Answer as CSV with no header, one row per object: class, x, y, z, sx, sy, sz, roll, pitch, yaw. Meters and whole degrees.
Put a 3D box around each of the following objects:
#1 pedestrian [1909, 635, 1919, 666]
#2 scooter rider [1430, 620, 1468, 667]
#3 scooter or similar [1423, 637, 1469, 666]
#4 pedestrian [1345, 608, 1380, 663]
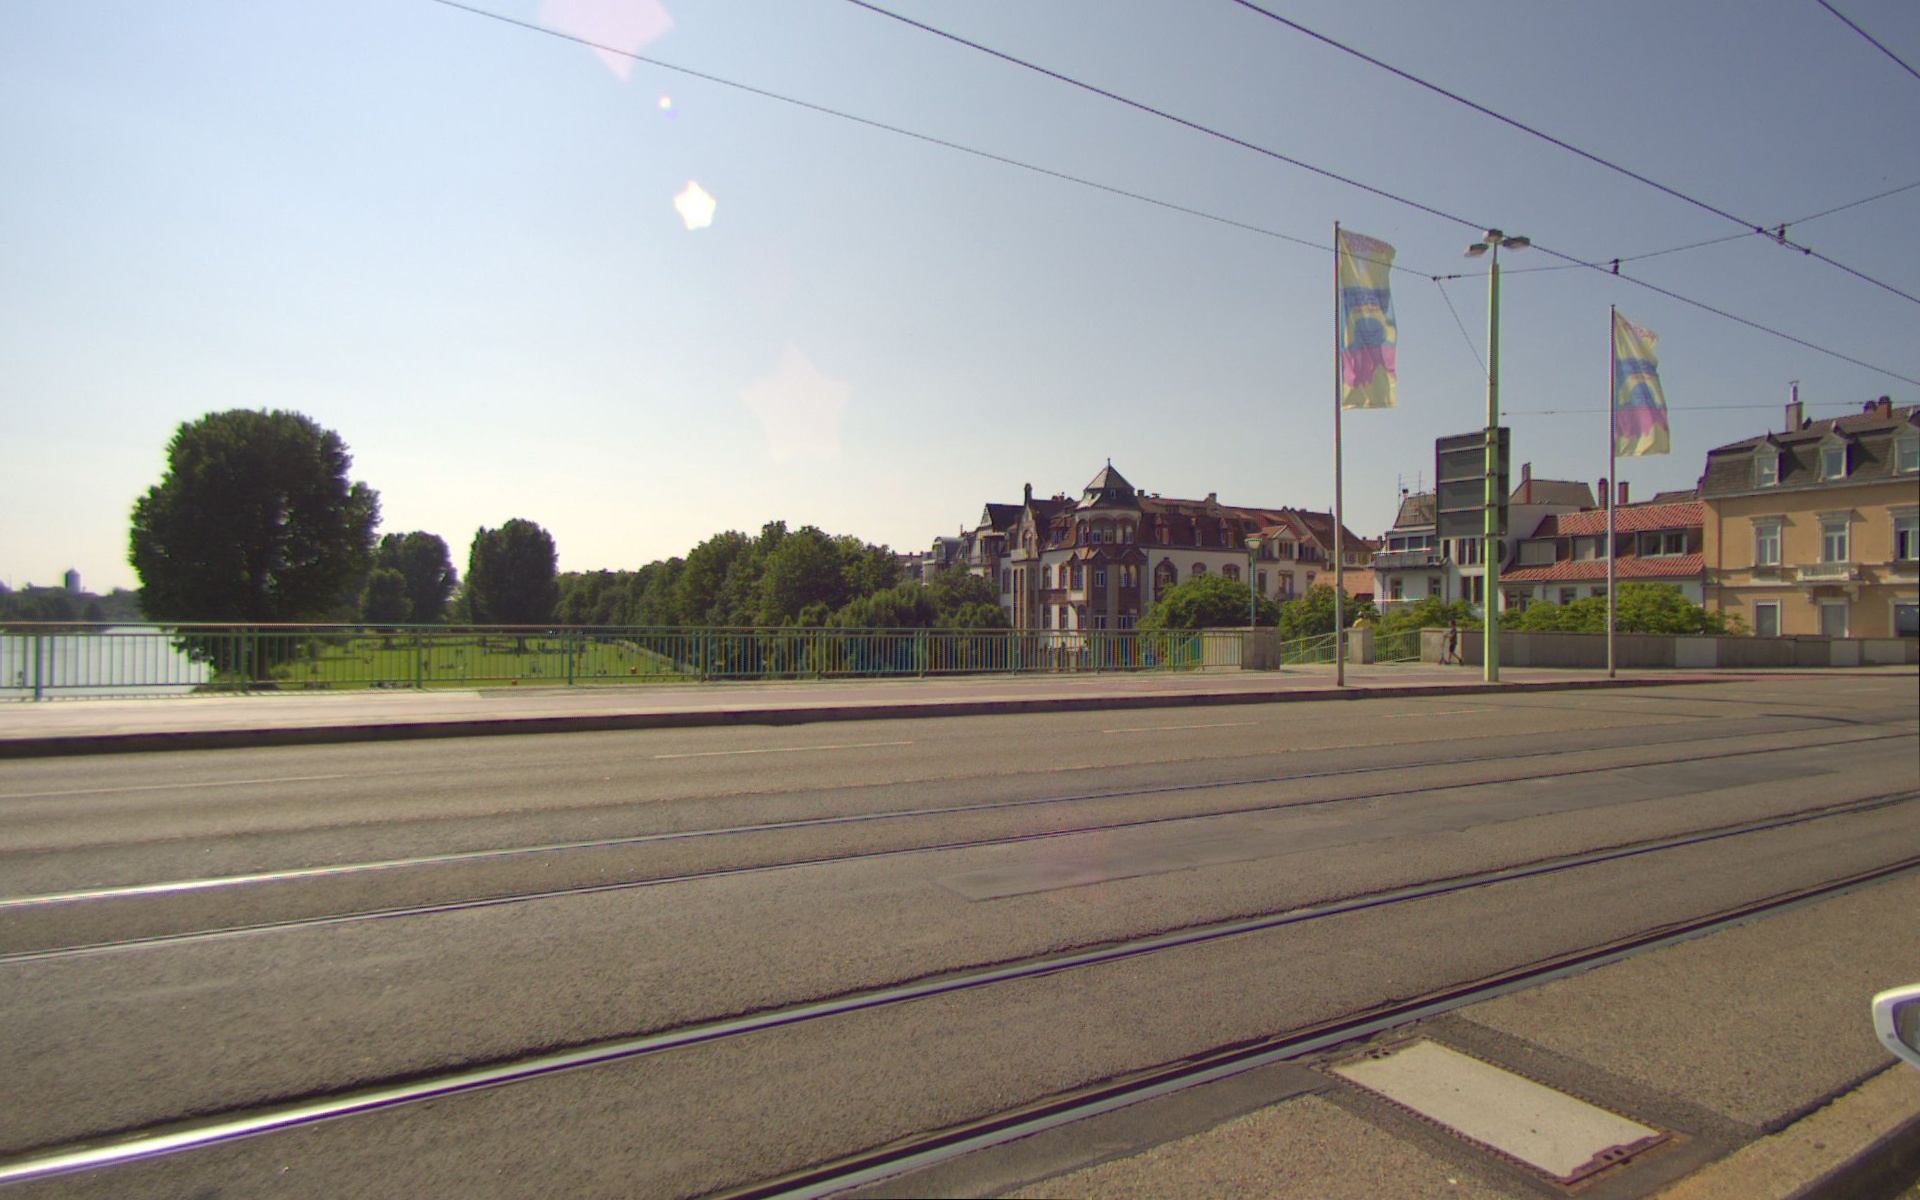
pedestrian,37.752,1.984,39.489,0.537,1.161,0.411,2,3,-24
scooter rider,14.975,1.325,30.767,0.588,1.333,0.768,2,3,-18
scooter or similar,14.883,1.577,30.784,0.945,0.793,0.779,2,3,-18
pedestrian,13.363,1.170,33.336,0.790,1.804,0.744,1,-1,-24
